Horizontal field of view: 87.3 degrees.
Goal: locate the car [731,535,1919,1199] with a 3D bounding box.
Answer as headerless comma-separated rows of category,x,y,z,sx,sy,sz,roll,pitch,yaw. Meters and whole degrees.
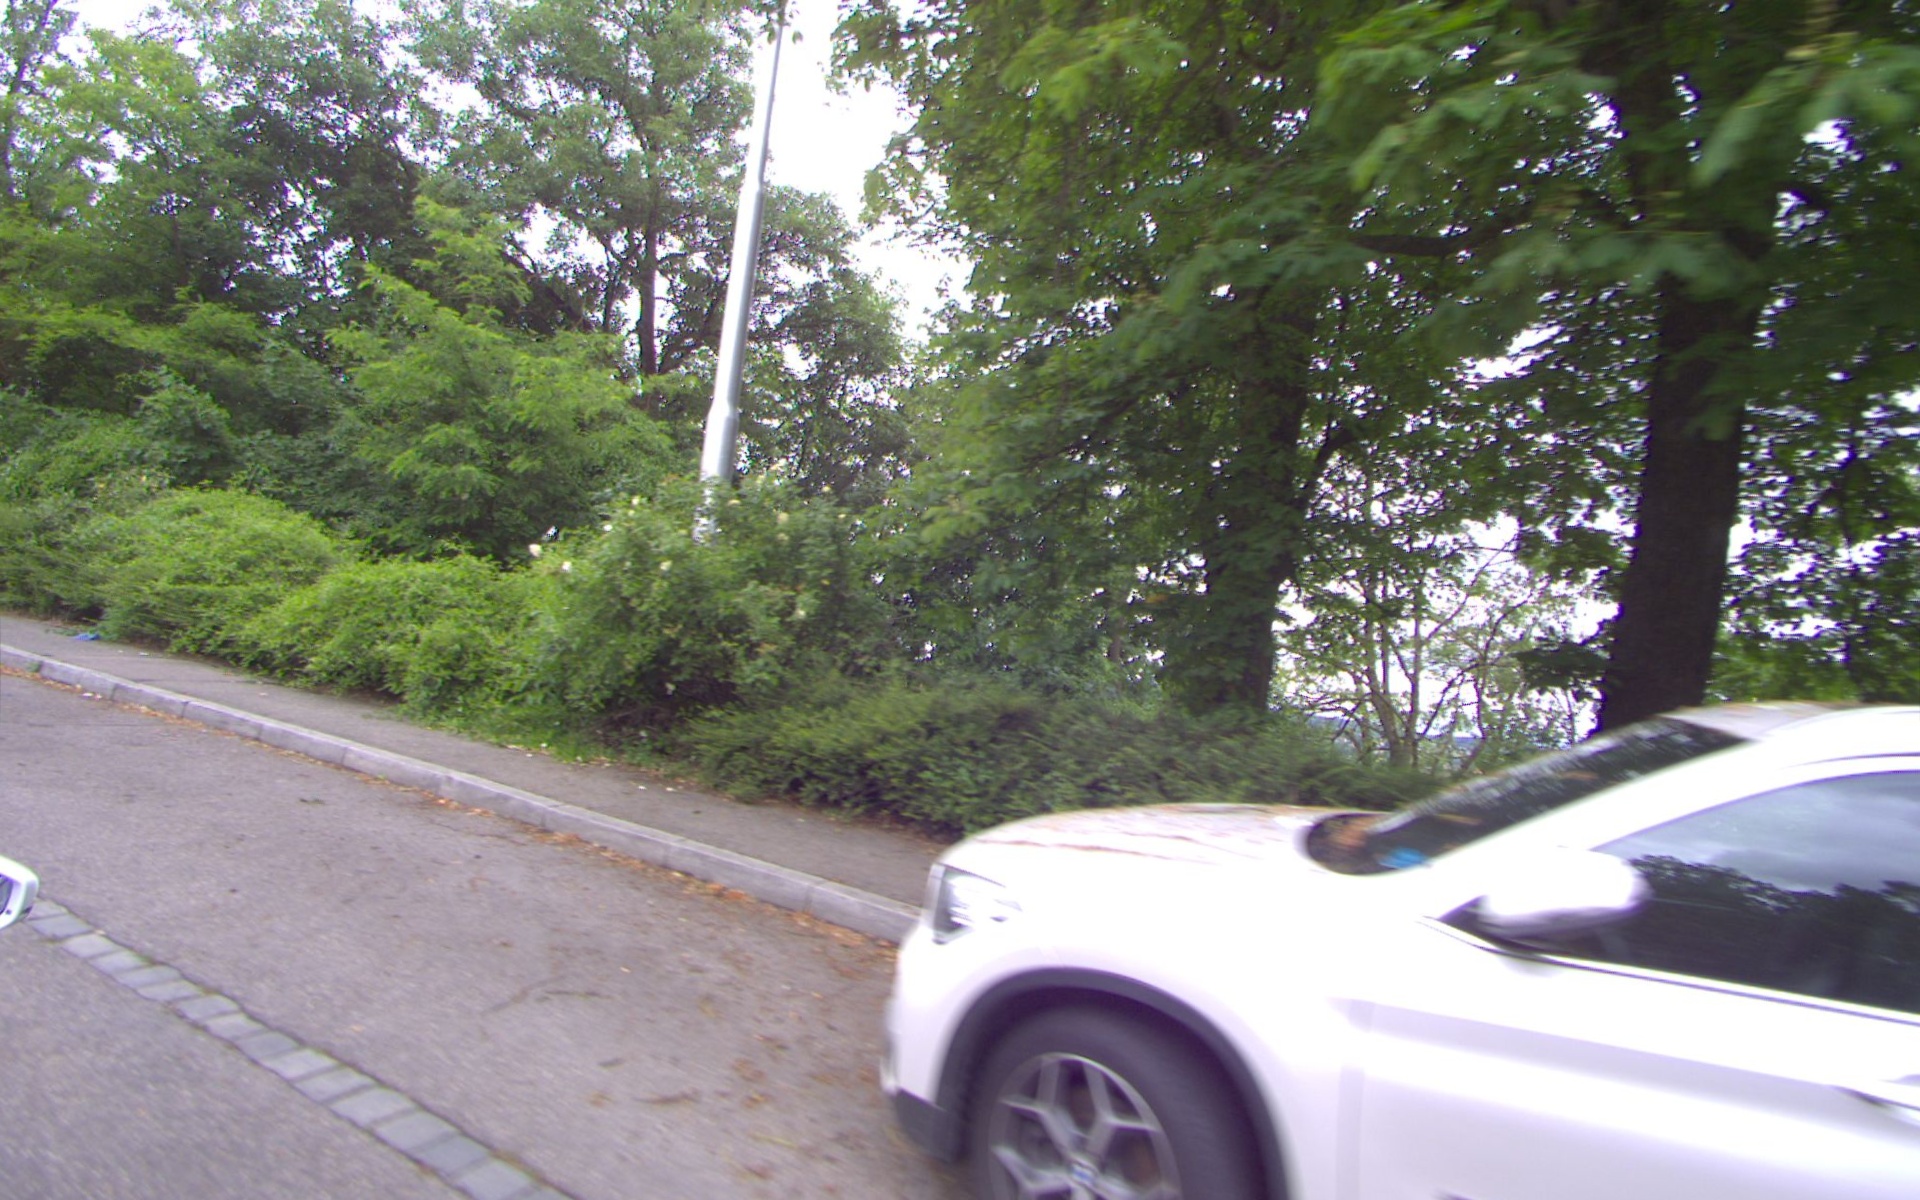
car,1.790,0.955,2.310,4.305,1.672,1.762,7,0,29
